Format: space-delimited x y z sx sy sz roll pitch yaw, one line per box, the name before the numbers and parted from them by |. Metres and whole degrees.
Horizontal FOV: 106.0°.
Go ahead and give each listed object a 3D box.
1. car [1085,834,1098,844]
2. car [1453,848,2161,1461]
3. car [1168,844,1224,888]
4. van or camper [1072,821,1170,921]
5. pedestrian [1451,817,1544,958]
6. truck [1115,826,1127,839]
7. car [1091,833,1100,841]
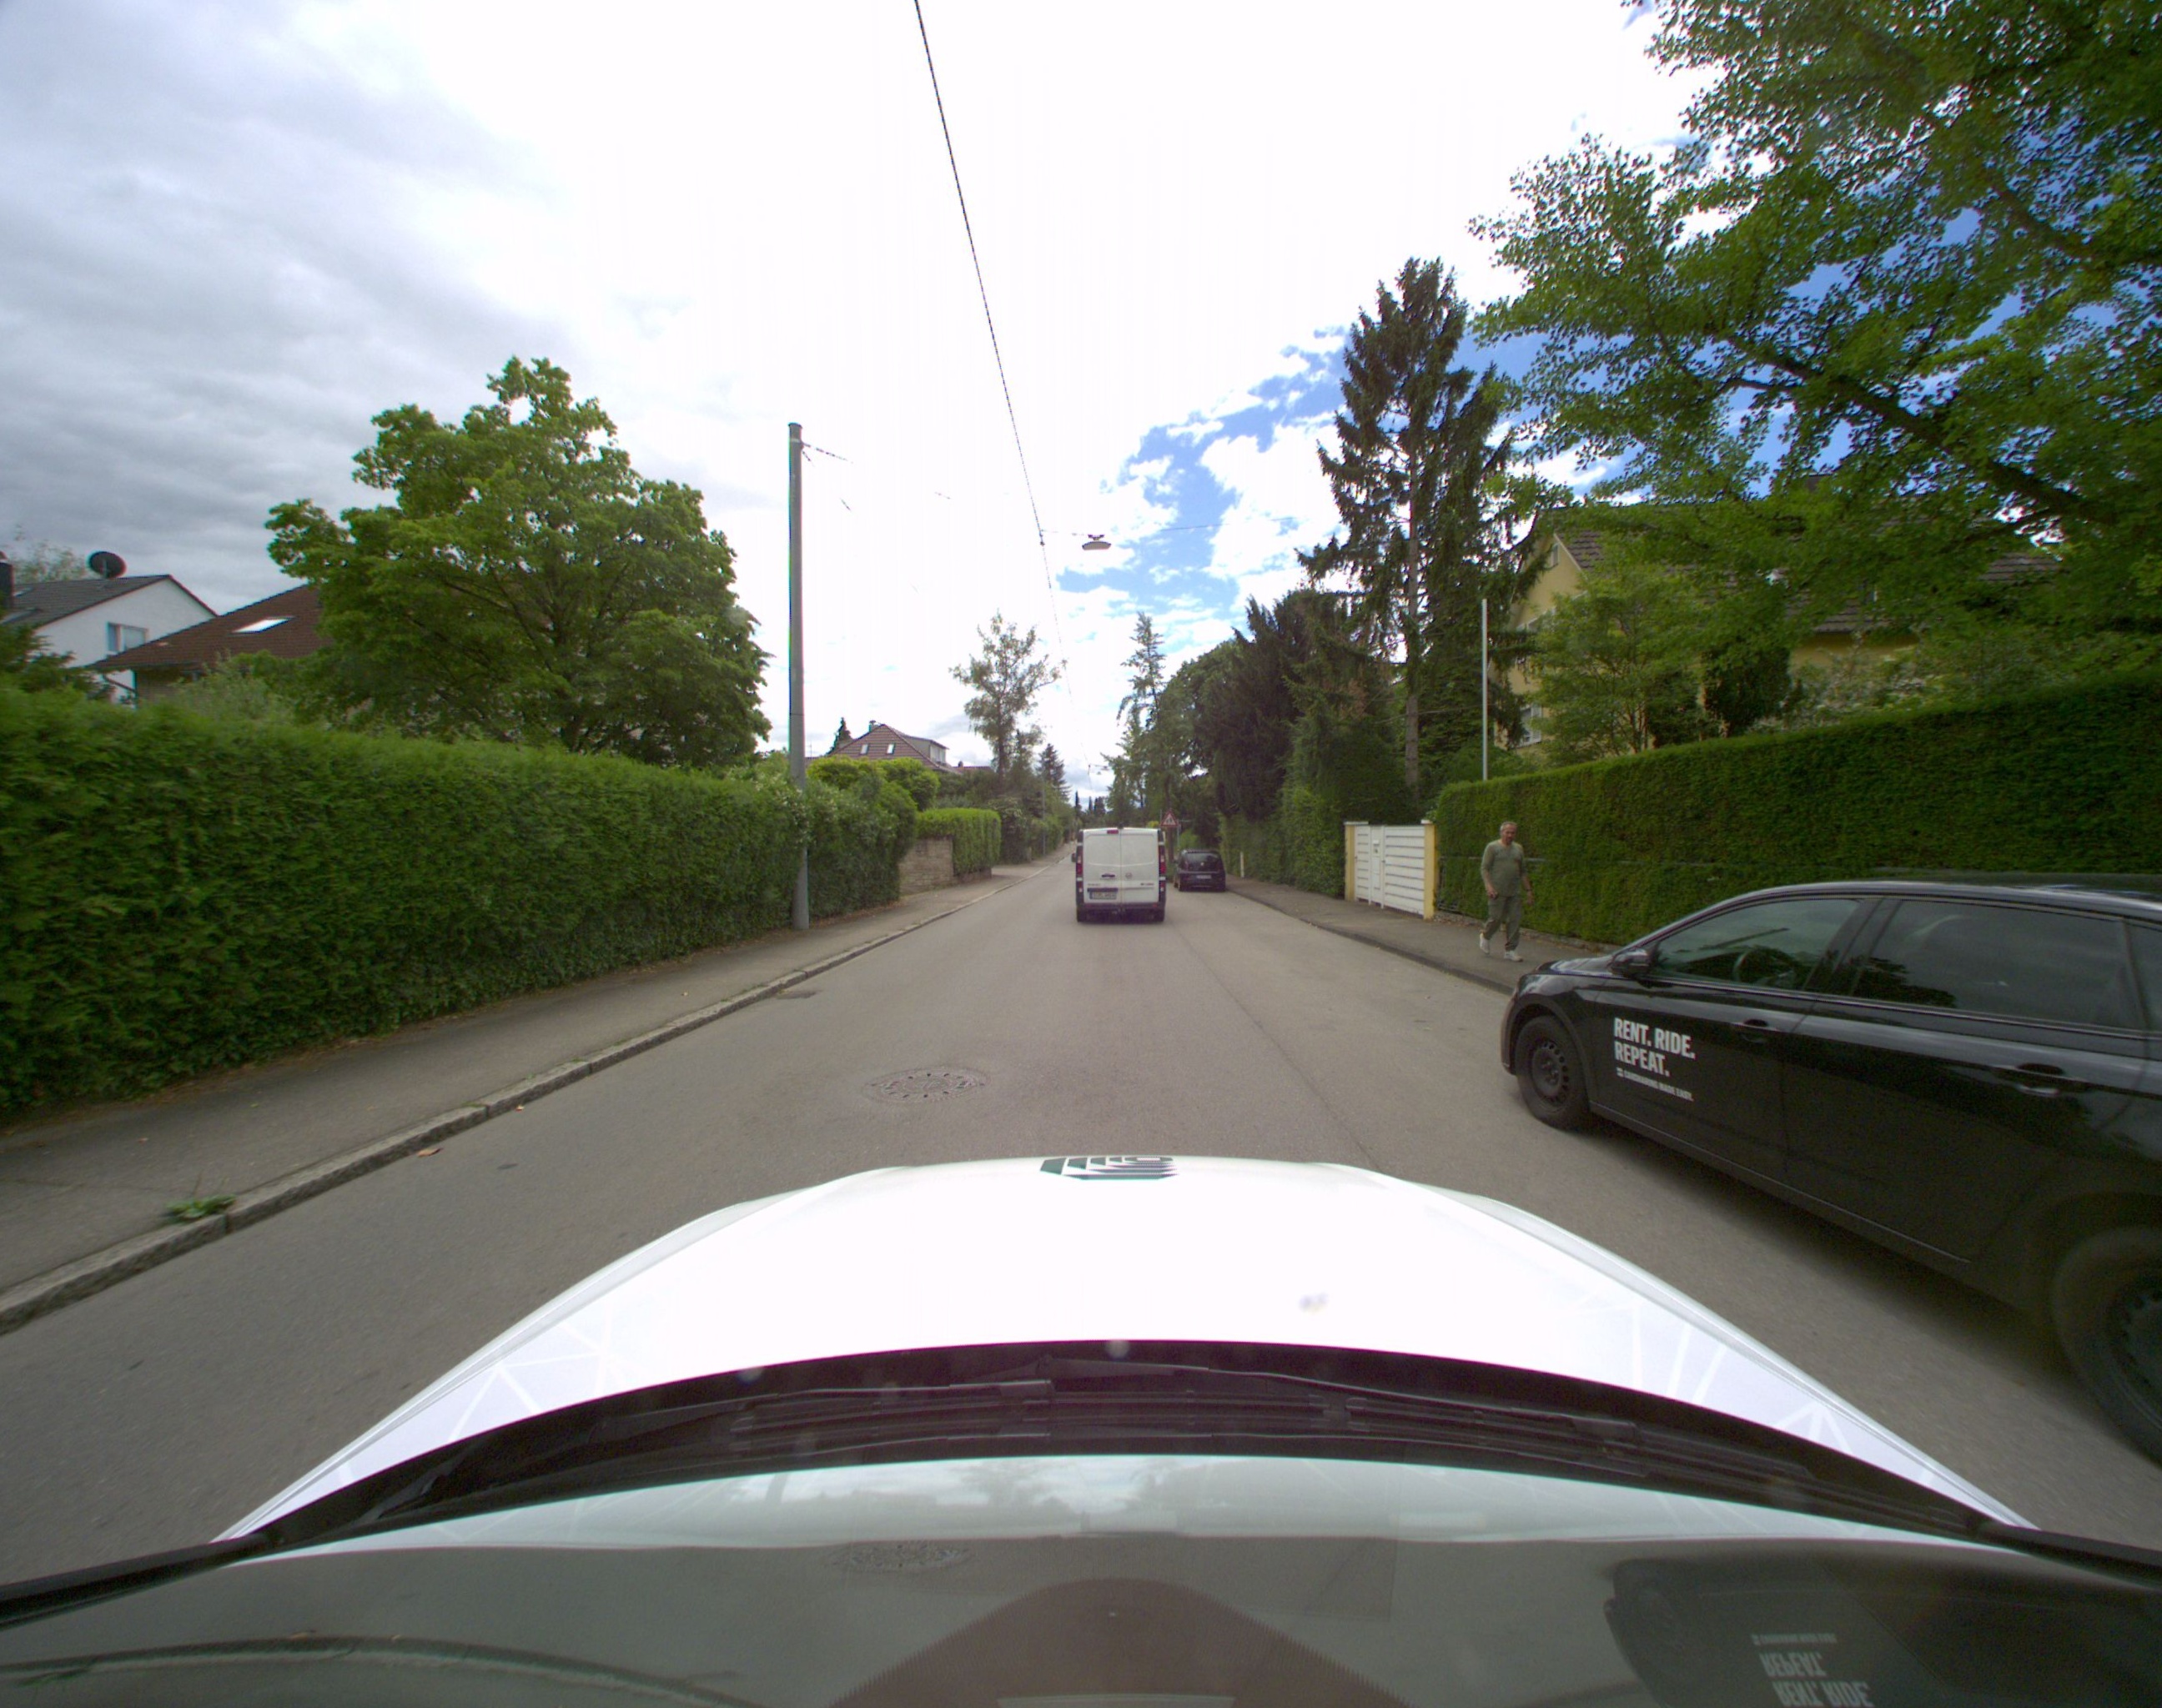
car | 1.834 -2.611 141.078 1.797 1.431 4.306 -3 2 4
car | 3.359 0.713 3.337 1.674 1.407 4.050 -2 1 -2
car | 4.108 0.400 29.529 1.617 1.473 3.742 0 1 2
van or camper | 0.837 0.304 18.466 1.932 1.953 4.766 1 1 1
pedestrian | 5.295 0.406 10.406 0.667 1.698 0.917 -2 1 -1
truck | 7.783 -4.195 159.715 2.179 2.471 7.434 1 2 1
car | 3.000 -3.573 170.807 1.799 1.431 4.119 -2 1 0
